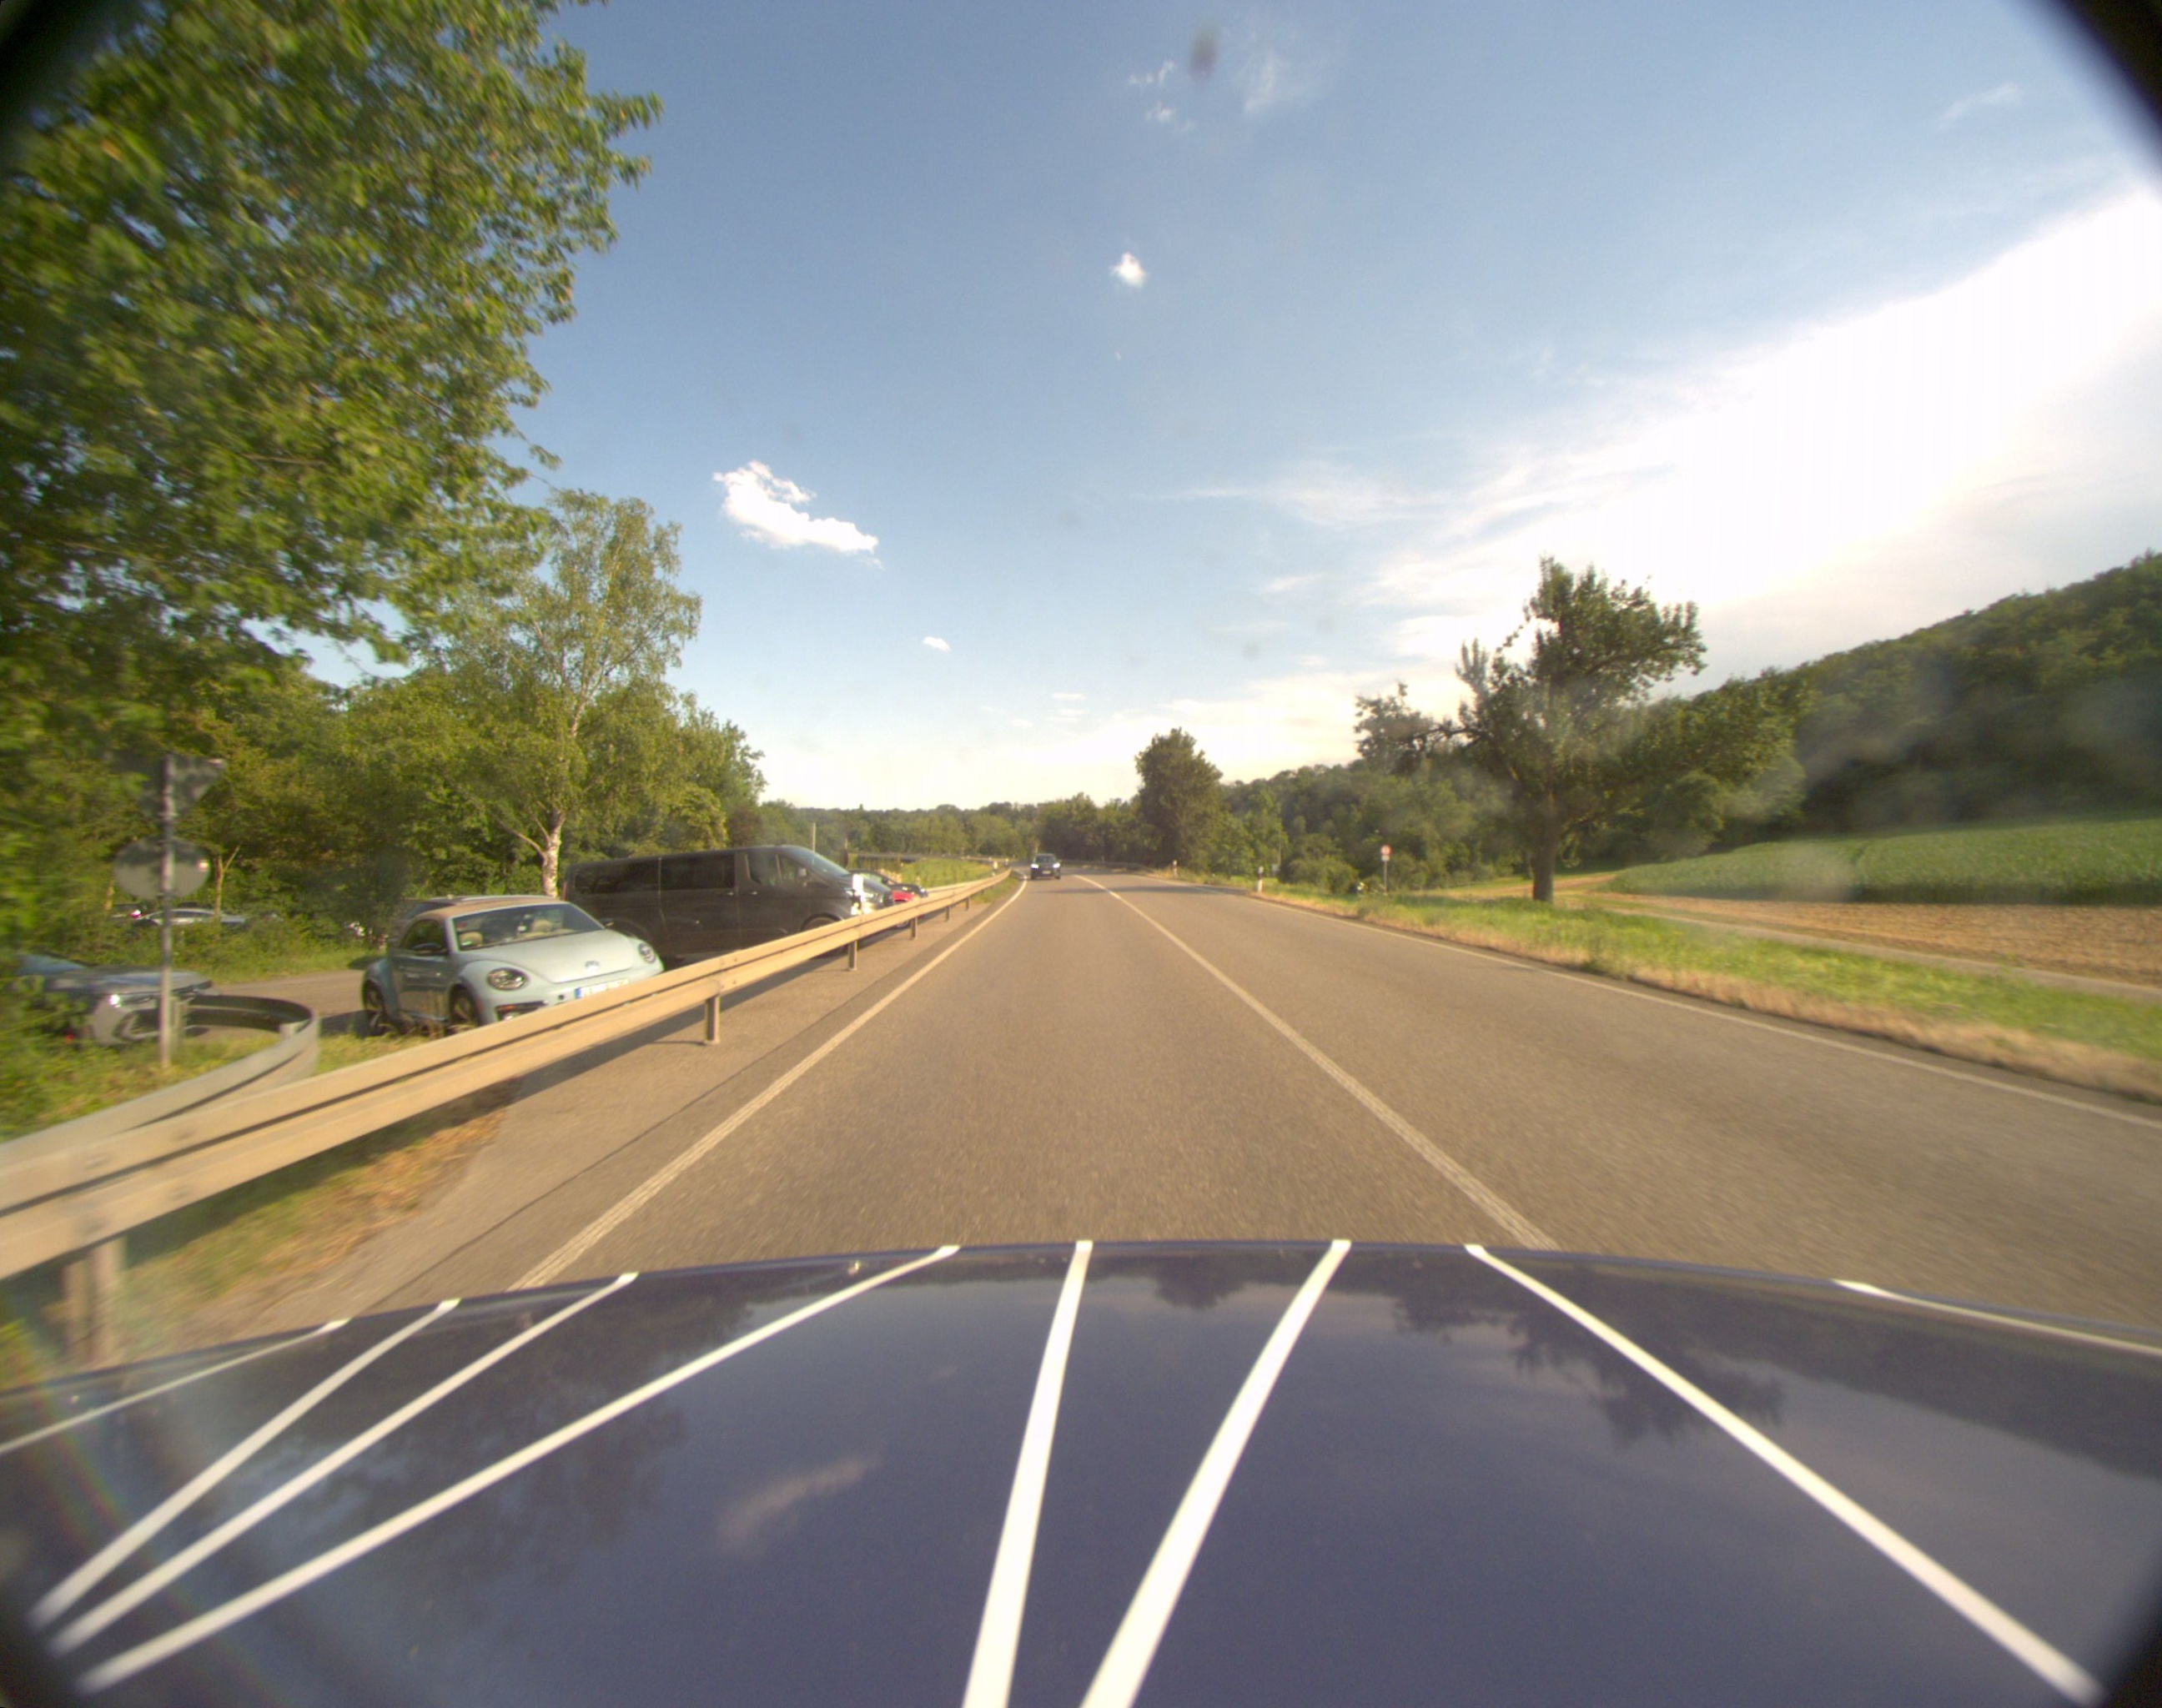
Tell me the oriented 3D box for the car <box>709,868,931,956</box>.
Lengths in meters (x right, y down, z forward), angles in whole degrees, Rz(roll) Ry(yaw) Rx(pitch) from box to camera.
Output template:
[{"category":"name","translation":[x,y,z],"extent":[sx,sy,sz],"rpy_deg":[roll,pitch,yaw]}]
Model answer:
[{"category":"car","translation":[-5.787,1.218,17.007],"extent":[4.330,1.391,1.717],"rpy_deg":[-5,0,-31]}]

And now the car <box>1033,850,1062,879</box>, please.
[{"category":"car","translation":[-2.104,0.628,48.829],"extent":[1.751,1.645,4.304],"rpy_deg":[0,2,-1]}]

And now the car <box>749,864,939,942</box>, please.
[{"category":"car","translation":[-6.144,1.207,19.894],"extent":[4.331,1.501,1.717],"rpy_deg":[-5,1,-34]}]

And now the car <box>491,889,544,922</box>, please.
[{"category":"car","translation":[-35.027,3.156,47.357],"extent":[1.806,1.681,4.587],"rpy_deg":[-1,0,-26]}]

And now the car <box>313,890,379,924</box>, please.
[{"category":"car","translation":[-43.209,3.076,44.777],"extent":[1.806,1.681,4.585],"rpy_deg":[-1,0,-32]}]

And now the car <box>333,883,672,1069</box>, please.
[{"category":"car","translation":[-6.682,1.313,8.671],"extent":[4.001,1.545,1.681],"rpy_deg":[-6,0,33]}]

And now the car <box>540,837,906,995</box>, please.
[{"category":"car","translation":[-5.882,0.974,13.080],"extent":[5.154,1.932,1.974],"rpy_deg":[-6,0,-4]}]

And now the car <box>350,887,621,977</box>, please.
[{"category":"car","translation":[-12.879,1.617,16.905],"extent":[1.808,1.433,4.594],"rpy_deg":[-3,0,12]}]

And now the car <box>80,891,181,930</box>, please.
[{"category":"car","translation":[-49.532,2.910,39.716],"extent":[1.806,1.681,4.585],"rpy_deg":[-1,0,-32]}]

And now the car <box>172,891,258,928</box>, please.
[{"category":"car","translation":[-47.408,3.004,41.731],"extent":[1.806,1.681,4.585],"rpy_deg":[-1,0,-32]}]

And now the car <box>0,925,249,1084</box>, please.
[{"category":"car","translation":[-12.248,1.718,8.351],"extent":[3.735,1.433,1.807],"rpy_deg":[-3,1,-29]}]

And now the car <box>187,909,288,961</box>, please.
[{"category":"car","translation":[-35.319,3.332,31.957],"extent":[1.807,1.681,4.585],"rpy_deg":[-1,0,-35]}]

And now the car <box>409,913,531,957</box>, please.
[{"category":"car","translation":[-26.749,3.522,33.463],"extent":[1.692,1.477,4.293],"rpy_deg":[-1,0,4]}]

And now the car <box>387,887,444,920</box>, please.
[{"category":"car","translation":[-40.217,2.956,46.014],"extent":[1.806,1.681,4.585],"rpy_deg":[-1,0,-32]}]
